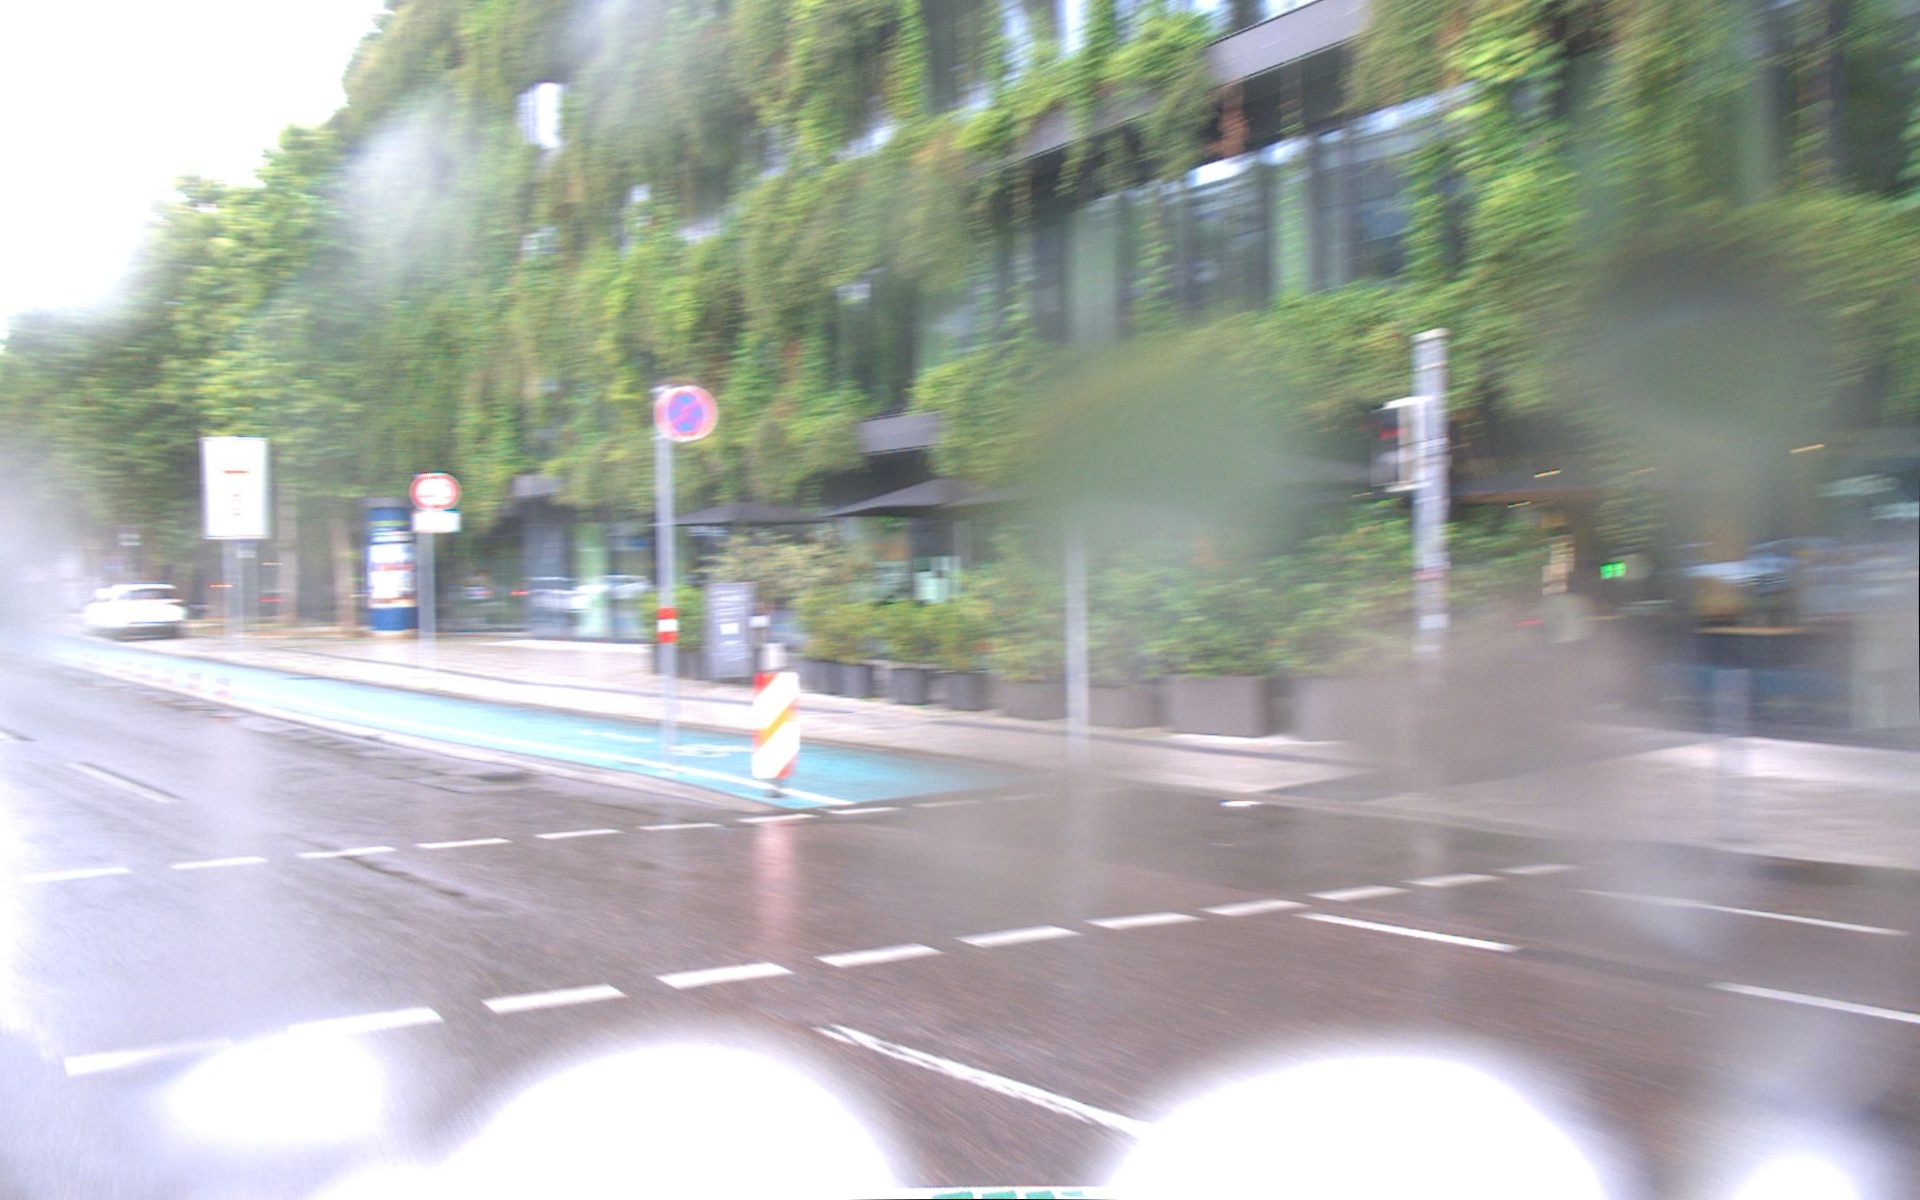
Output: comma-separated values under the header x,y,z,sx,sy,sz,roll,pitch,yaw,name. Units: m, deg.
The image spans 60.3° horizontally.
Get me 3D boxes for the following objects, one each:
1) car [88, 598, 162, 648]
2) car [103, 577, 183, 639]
x,y,z,sx,sy,sz,roll,pitch,yaw,name
-30.050,0.790,59.476,1.827,1.661,4.729,0,0,-34,car
-26.589,0.238,53.766,1.826,1.870,5.038,-2,1,-32,car
